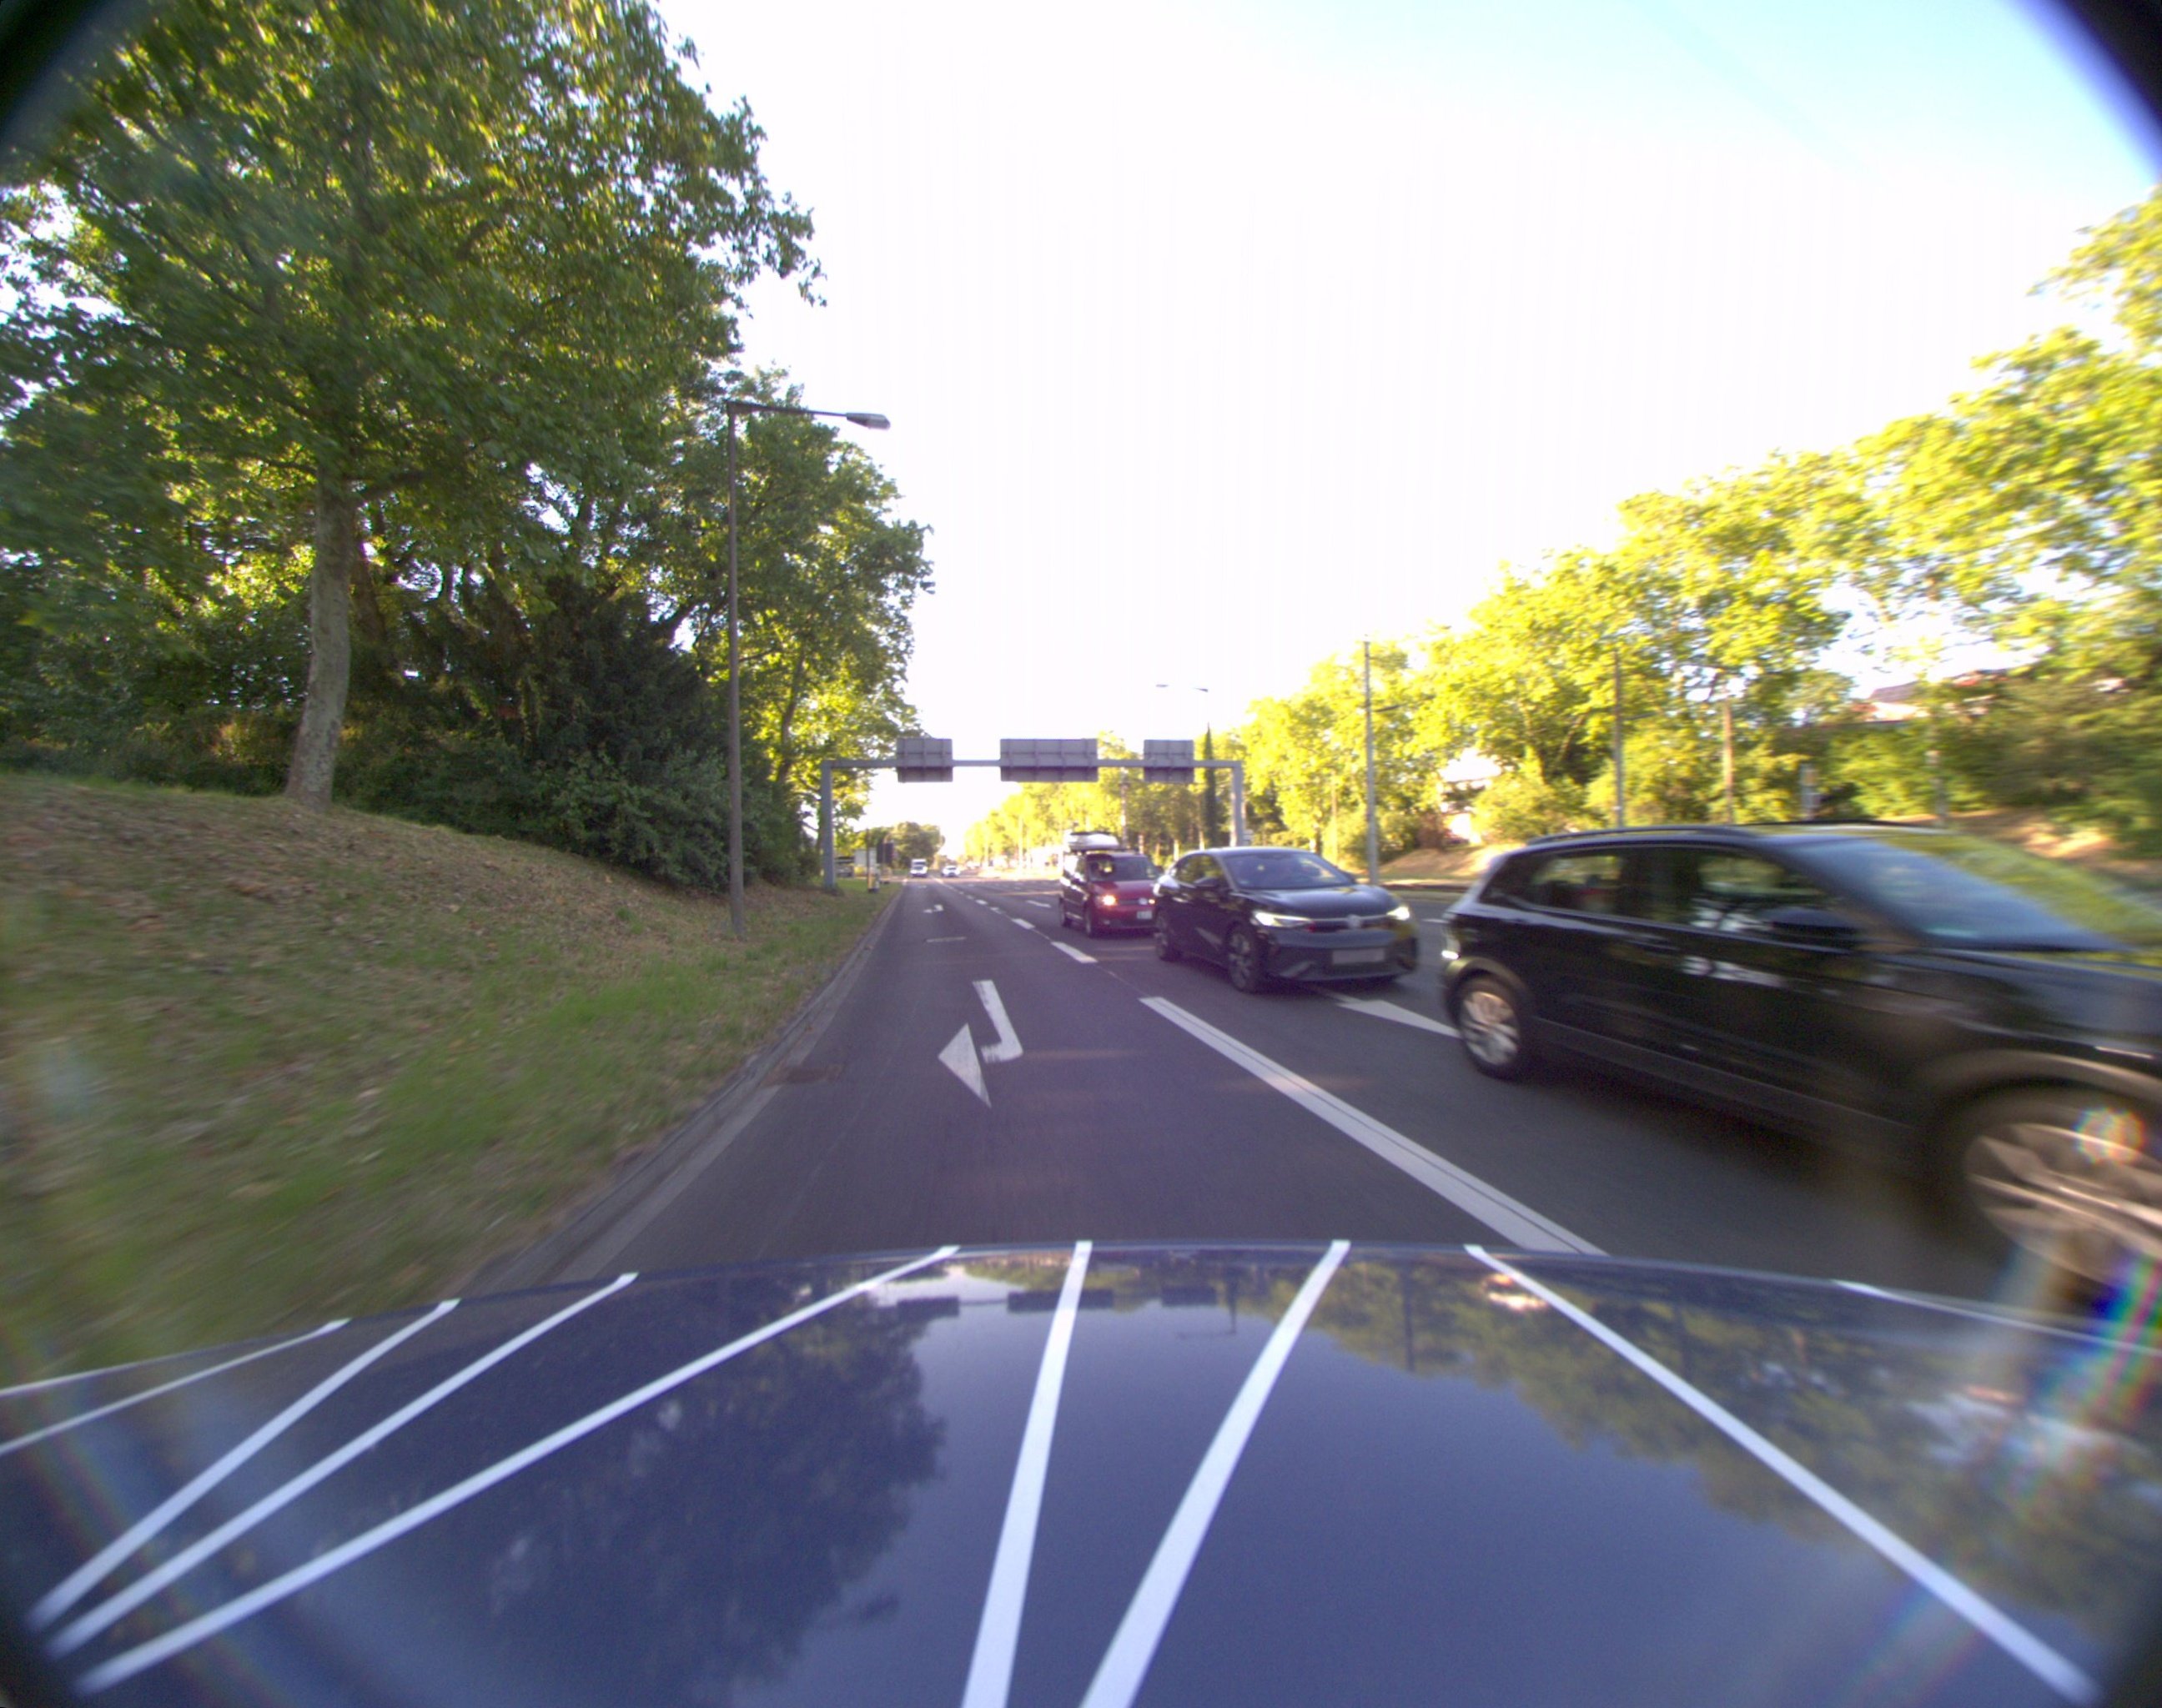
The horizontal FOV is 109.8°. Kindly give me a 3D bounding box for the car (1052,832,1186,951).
[{"bbox_3d":[0.624,0.718,15.593,1.799,2.092,3.997,0,-1,-12],"label":"car"}]

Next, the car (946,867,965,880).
[{"bbox_3d":[-16.552,2.567,100.692,1.875,1.608,4.001,0,-1,0],"label":"car"}]

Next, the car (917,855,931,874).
[{"bbox_3d":[-22.406,1.534,108.622,2.010,2.515,5.871,0,-1,-11],"label":"car"}]

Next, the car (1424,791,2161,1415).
[{"bbox_3d":[3.659,0.732,3.489,1.799,1.739,3.997,0,-1,-11],"label":"car"}]

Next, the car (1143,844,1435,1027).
[{"bbox_3d":[2.231,0.836,9.481,1.799,1.739,4.237,0,-1,-11],"label":"car"}]

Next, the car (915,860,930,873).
[{"bbox_3d":[-20.778,1.662,99.455,1.877,1.608,4.543,0,-1,-12],"label":"car"}]

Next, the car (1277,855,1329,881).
[{"bbox_3d":[17.390,1.132,59.634,1.927,2.001,4.508,0,-1,-13],"label":"car"}]

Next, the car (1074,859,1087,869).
[{"bbox_3d":[-0.052,2.192,161.701,2.000,2.053,4.187,0,-1,-11],"label":"car"}]
